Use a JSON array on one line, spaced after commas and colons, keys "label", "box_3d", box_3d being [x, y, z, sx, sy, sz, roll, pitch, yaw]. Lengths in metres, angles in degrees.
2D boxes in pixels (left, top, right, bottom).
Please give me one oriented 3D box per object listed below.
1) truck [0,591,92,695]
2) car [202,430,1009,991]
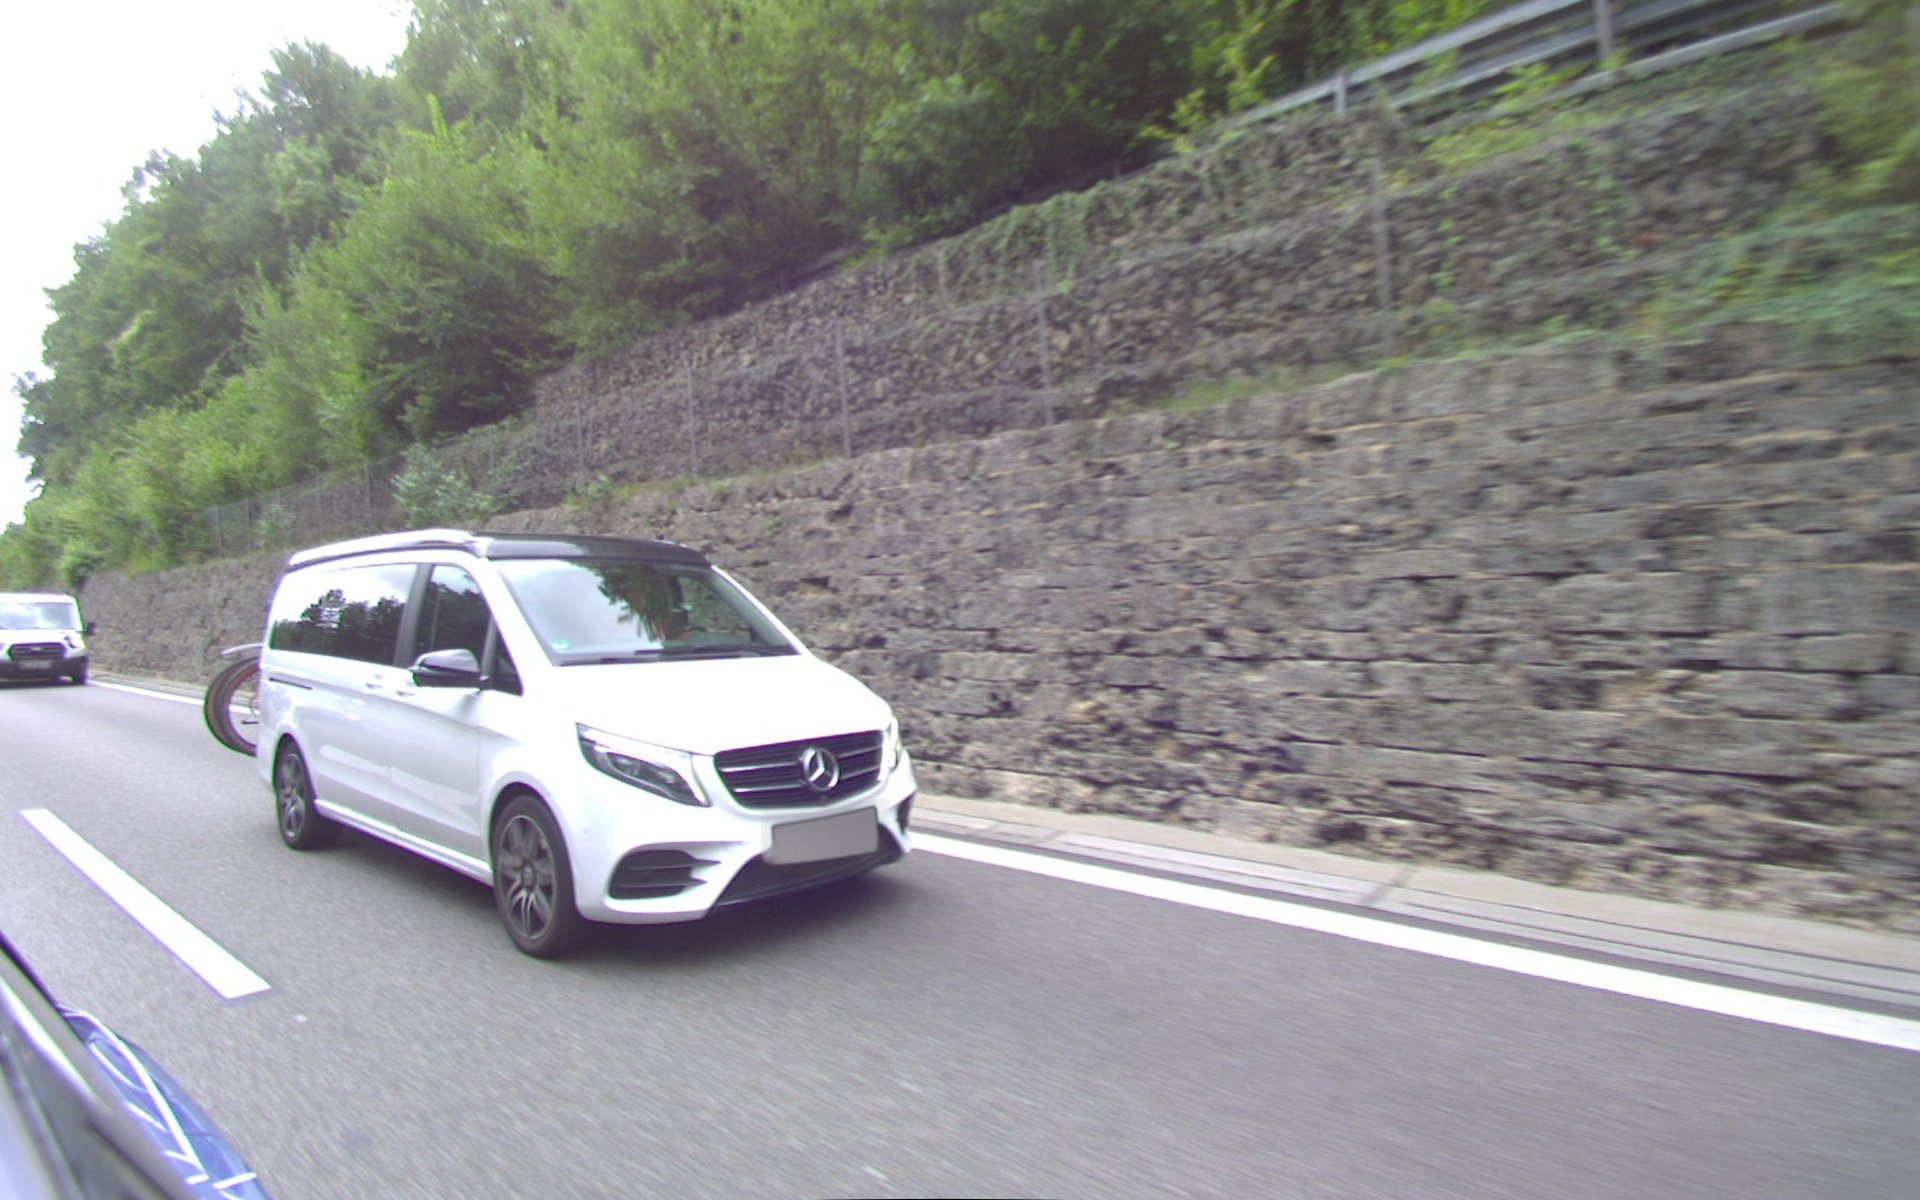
[{"label": "truck", "box_3d": [-23.459, 1.013, 25.085, 6.582, 2.297, 1.973, -2, 0, 41]}, {"label": "car", "box_3d": [-2.727, 0.436, 6.323, 6.144, 1.967, 1.973, -2, 0, 41]}]
